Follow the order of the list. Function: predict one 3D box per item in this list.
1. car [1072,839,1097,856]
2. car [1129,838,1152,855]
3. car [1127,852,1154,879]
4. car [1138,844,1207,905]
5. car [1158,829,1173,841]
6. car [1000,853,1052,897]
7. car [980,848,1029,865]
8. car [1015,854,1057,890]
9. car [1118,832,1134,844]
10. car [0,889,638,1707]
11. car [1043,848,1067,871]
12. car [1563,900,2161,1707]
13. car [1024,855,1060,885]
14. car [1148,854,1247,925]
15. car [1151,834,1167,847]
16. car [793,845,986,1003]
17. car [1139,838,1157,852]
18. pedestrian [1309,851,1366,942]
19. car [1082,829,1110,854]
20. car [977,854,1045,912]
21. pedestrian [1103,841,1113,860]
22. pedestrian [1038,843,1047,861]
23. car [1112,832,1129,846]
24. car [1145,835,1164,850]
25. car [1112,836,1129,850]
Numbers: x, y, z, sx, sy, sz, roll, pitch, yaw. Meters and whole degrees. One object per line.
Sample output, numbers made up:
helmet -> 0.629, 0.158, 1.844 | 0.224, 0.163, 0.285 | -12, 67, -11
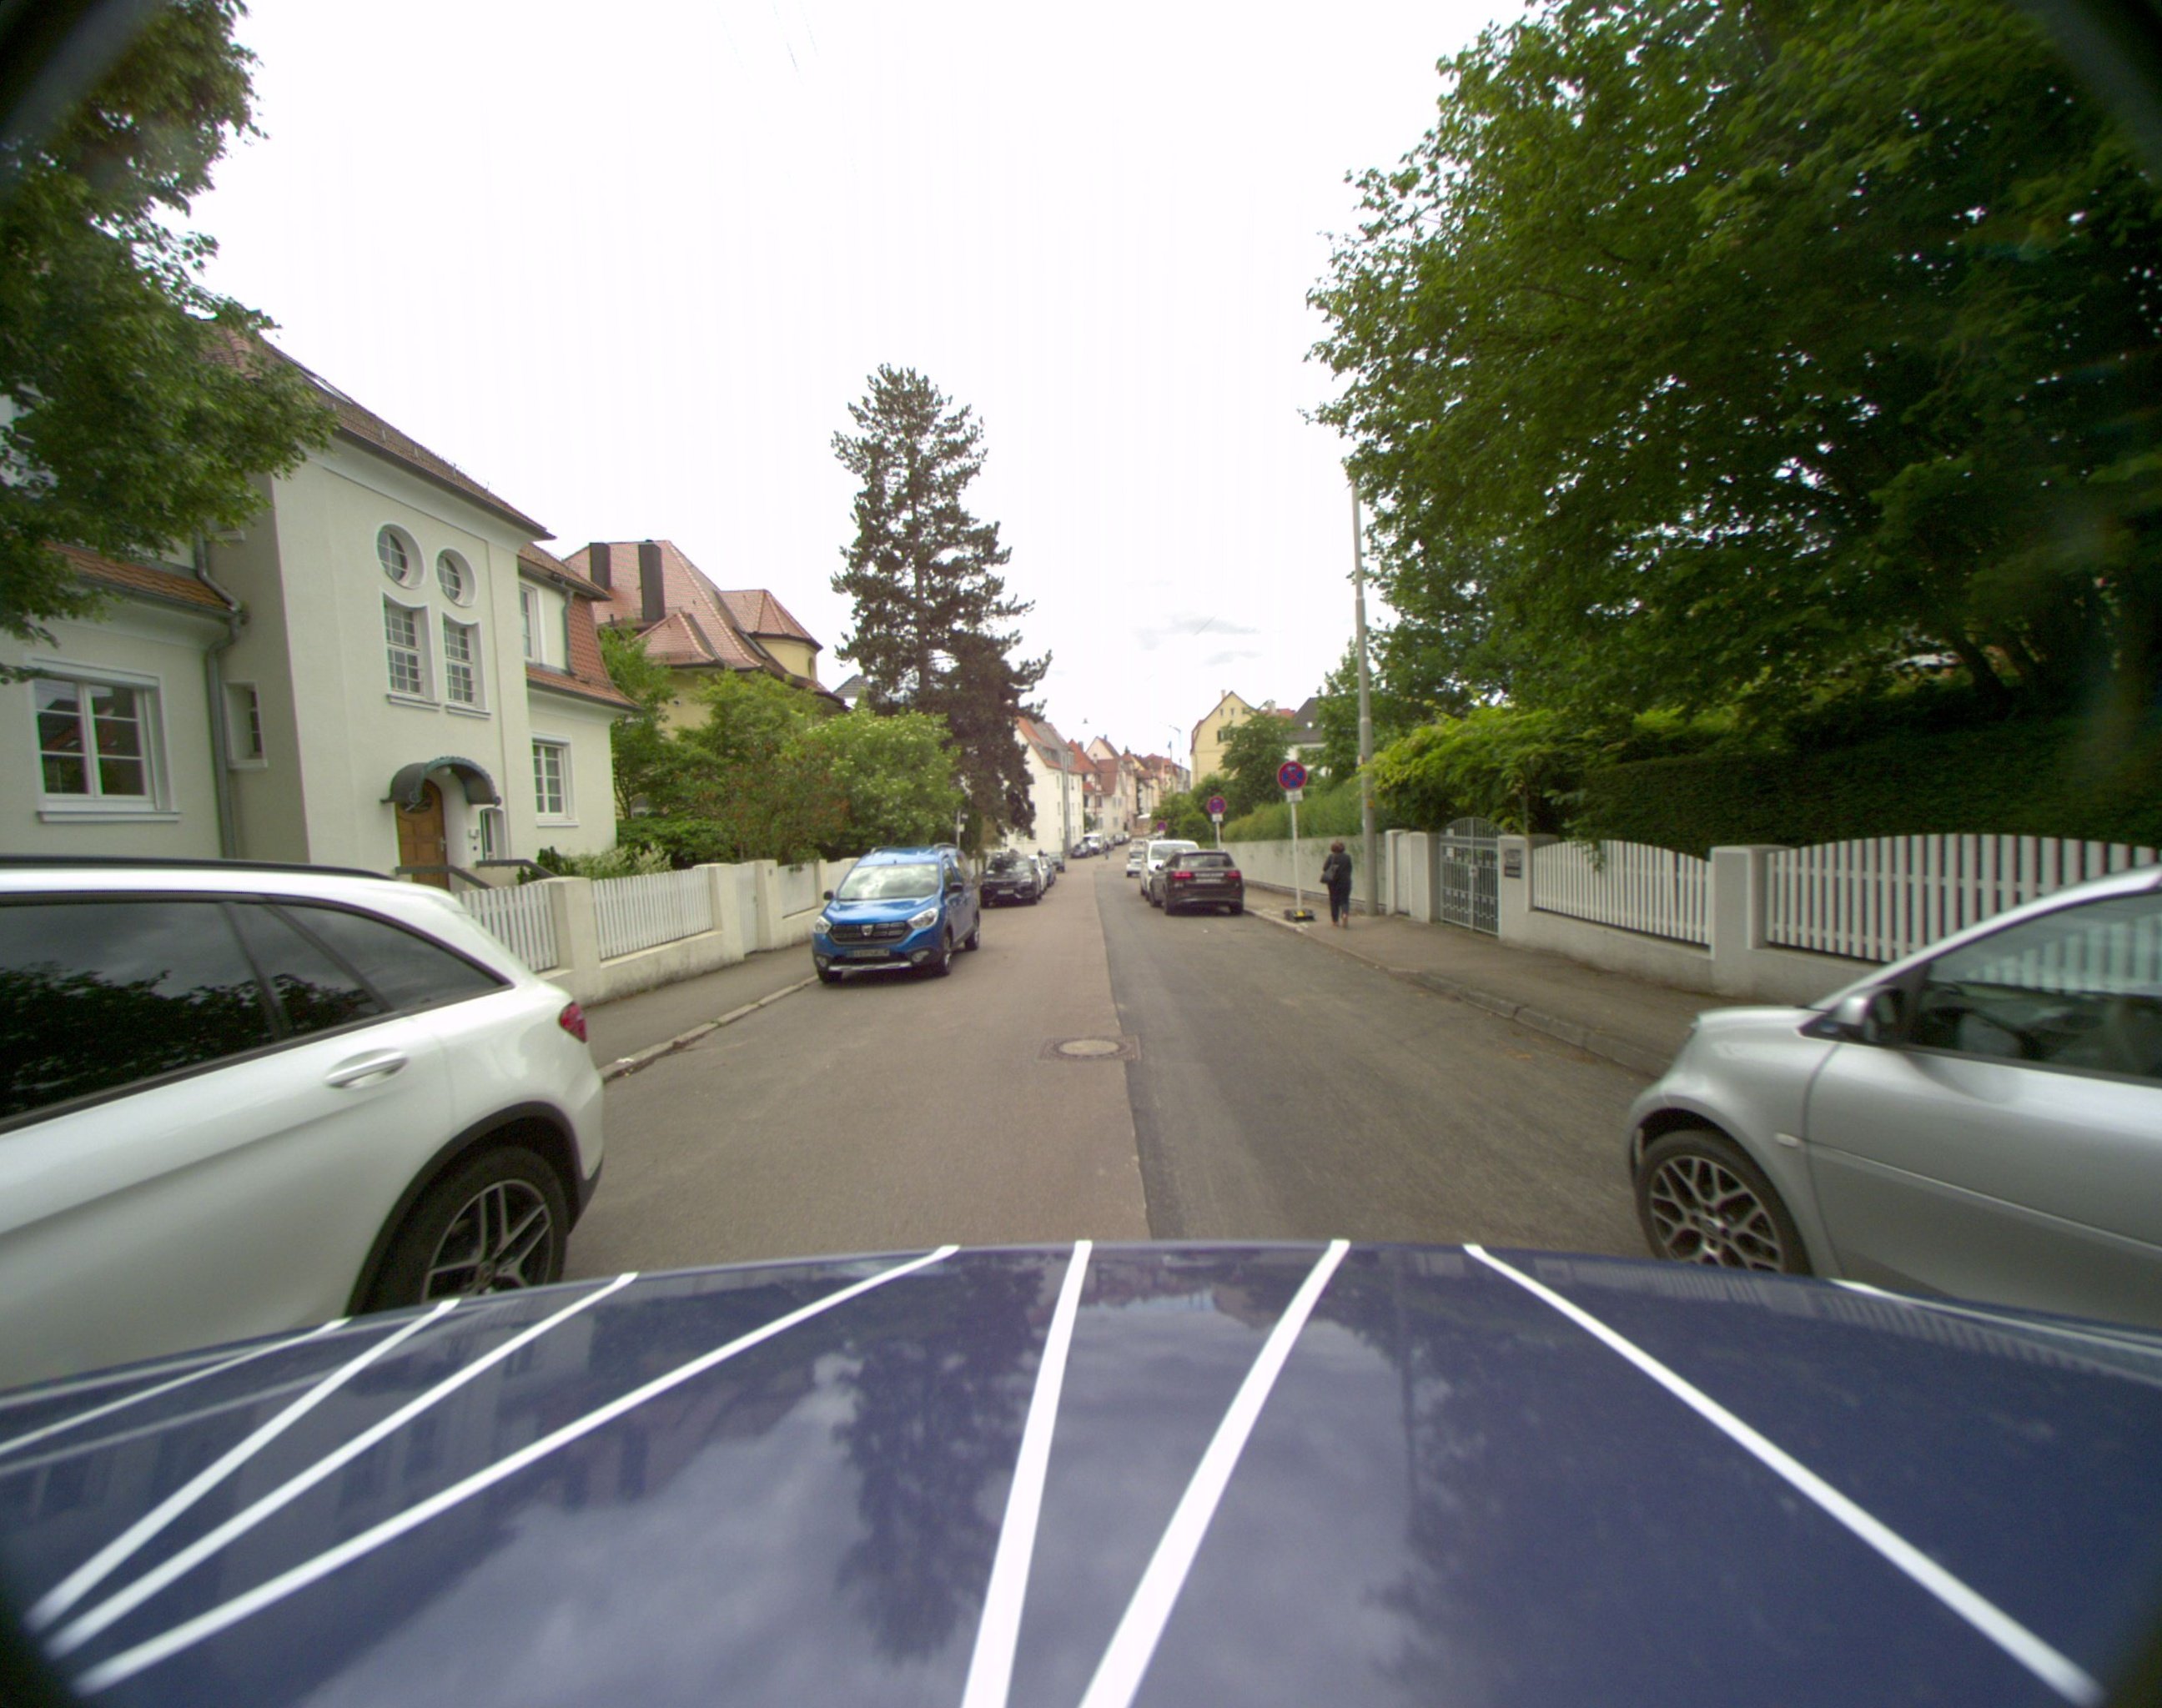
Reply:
car -> 0.420, -0.672, 78.542 | 1.821, 1.478, 4.288 | -2, 3, 11
car -> 6.345, -0.810, 80.482 | 1.807, 1.650, 4.153 | -1, 2, 12
car -> 3.559, 0.670, 45.324 | 1.445, 1.543, 2.771 | 1, 1, 8
car -> 3.008, 0.607, 25.851 | 1.859, 1.902, 4.619 | 0, 1, 1
car -> 11.466, -2.554, 103.426 | 1.641, 1.392, 3.704 | -1, 4, 12
car -> -2.273, 0.830, 32.212 | 1.789, 1.594, 4.304 | -4, 1, 0
car -> -7.540, 0.248, 74.628 | 4.352, 1.442, 1.765 | -3, 1, 14
car -> -2.109, 0.834, 36.579 | 1.651, 1.450, 4.051 | -3, 1, 1
car -> 6.328, -2.274, 107.132 | 1.628, 1.385, 4.236 | -3, 4, 11
car -> -2.598, 0.991, 0.704 | 1.762, 1.596, 4.574 | -3, 0, -3
car -> -1.868, 0.356, 55.578 | 1.576, 1.523, 2.867 | -5, 1, -1
car -> 2.765, 0.947, 1.536 | 1.626, 1.524, 2.962 | 0, 0, -2
car -> -2.085, 0.815, 40.987 | 1.577, 1.392, 3.655 | -4, 1, 1
car -> 2.896, 0.817, 19.750 | 1.795, 1.614, 4.342 | -1, 0, -1
car -> 10.229, -1.806, 99.302 | 1.641, 1.421, 4.123 | 0, 5, 12
car -> -2.594, 0.864, 11.360 | 1.687, 1.818, 4.156 | -4, 0, 0
car -> 7.587, -1.042, 85.419 | 1.609, 1.445, 3.615 | 1, 4, 12
pedestrian -> 4.650, 0.755, 13.812 | 0.610, 1.538, 0.797 | -7, 1, 0
car -> 1.713, -1.420, 85.468 | 1.996, 2.410, 5.294 | -1, 4, 13
car -> -2.272, 0.907, 25.690 | 1.754, 1.599, 4.075 | -4, 1, 1
pedestrian -> 2.601, -0.343, 72.578 | 0.822, 1.750, 0.644 | -4, 2, 2
pedestrian -> -3.412, -0.152, 67.842 | 0.682, 1.568, 0.906 | 0, 3, 7
car -> 5.383, -2.057, 102.347 | 1.607, 1.482, 4.023 | -3, 4, 12
car -> 9.103, -1.447, 93.974 | 1.805, 1.472, 4.329 | -1, 4, 12
car -> 5.292, -1.494, 101.782 | 1.779, 1.711, 4.001 | -2, 2, 10
